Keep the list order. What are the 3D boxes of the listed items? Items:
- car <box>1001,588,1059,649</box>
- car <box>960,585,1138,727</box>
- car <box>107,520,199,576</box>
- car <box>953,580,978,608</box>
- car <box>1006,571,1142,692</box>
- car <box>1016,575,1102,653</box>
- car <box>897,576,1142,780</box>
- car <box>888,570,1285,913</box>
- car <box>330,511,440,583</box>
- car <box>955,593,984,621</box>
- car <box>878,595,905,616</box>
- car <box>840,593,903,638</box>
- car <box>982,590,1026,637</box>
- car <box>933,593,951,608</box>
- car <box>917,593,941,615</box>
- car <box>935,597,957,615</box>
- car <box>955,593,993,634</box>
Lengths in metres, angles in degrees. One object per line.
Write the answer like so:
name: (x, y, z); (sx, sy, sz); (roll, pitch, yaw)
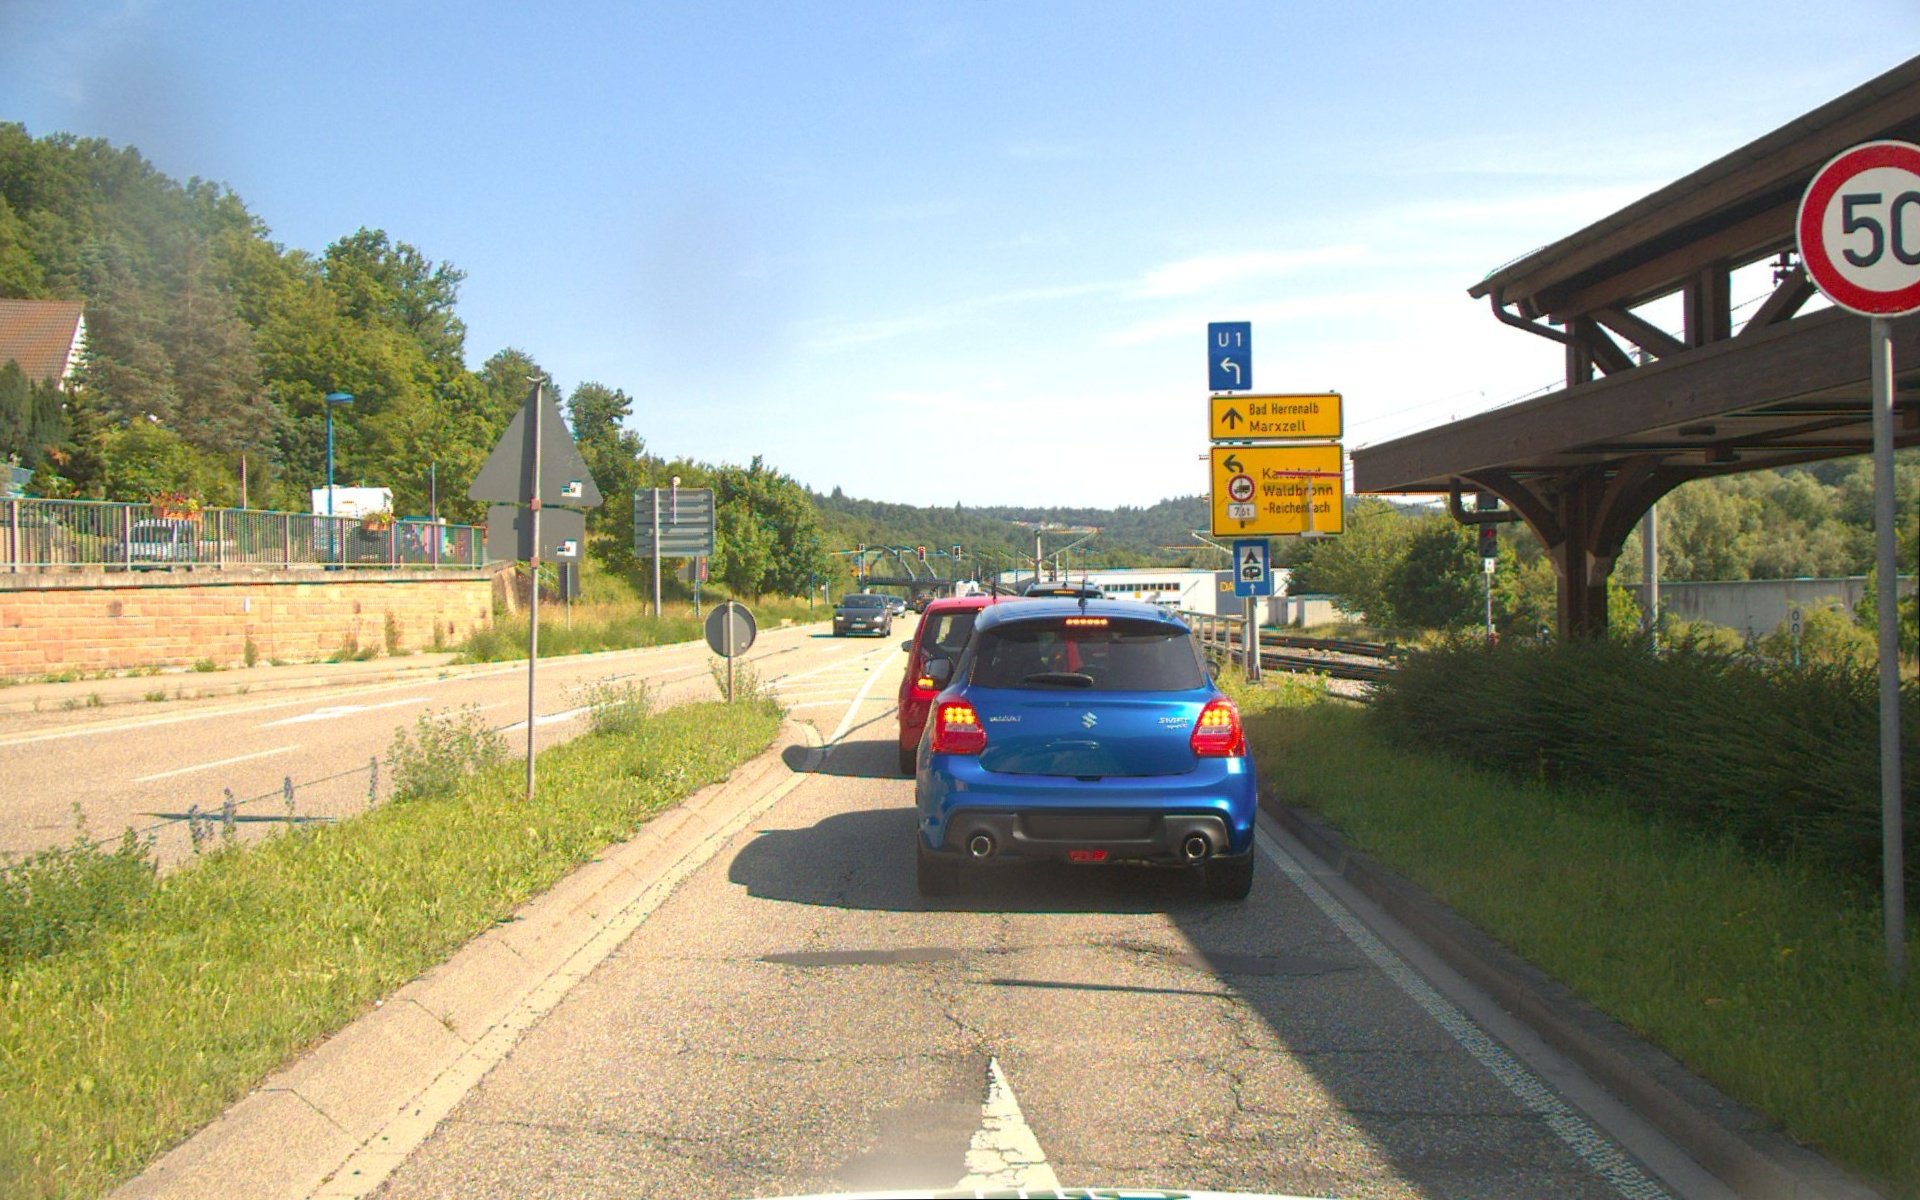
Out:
car: (2.537, 0.654, 60.835); (1.953, 2.048, 4.001); (2, 1, 0)
car: (1.055, 0.604, 20.604); (1.952, 1.558, 4.603); (0, 0, 2)
car: (-25.271, -1.599, 51.894); (1.864, 1.658, 3.984); (0, 0, -15)
car: (0.469, -0.490, 134.407); (1.953, 2.181, 4.720); (1, 0, 0)
car: (1.755, 0.450, 26.686); (1.952, 1.716, 4.498); (2, 0, 2)
car: (2.373, 0.309, 40.624); (1.952, 1.766, 4.001); (2, 0, 2)
car: (0.542, 0.630, 15.338); (1.952, 1.599, 4.001); (1, 0, 2)
car: (0.574, 0.644, 9.667); (1.830, 1.575, 4.000); (0, 0, -1)
car: (-16.768, -1.534, 48.461); (1.982, 1.953, 4.725); (2, 1, -6)
car: (0.691, 0.503, 119.906); (1.953, 1.848, 4.001); (2, 1, 0)
car: (-4.771, 0.383, 115.849); (1.637, 1.466, 3.841); (1, 0, 2)
car: (-3.108, 0.522, 58.987); (1.754, 1.496, 4.718); (0, 0, 3)
car: (2.101, 0.628, 79.477); (1.953, 2.048, 4.001); (2, 1, 0)
car: (-1.968, 0.025, 181.145); (1.953, 1.619, 4.000); (1, 0, 0)
car: (-2.658, 0.370, 142.790); (1.953, 1.814, 4.000); (1, 0, 0)
car: (-1.279, 0.583, 153.516); (1.953, 1.581, 4.215); (1, 0, 0)
car: (0.766, 0.717, 90.899); (1.953, 2.048, 4.001); (2, 1, 0)
